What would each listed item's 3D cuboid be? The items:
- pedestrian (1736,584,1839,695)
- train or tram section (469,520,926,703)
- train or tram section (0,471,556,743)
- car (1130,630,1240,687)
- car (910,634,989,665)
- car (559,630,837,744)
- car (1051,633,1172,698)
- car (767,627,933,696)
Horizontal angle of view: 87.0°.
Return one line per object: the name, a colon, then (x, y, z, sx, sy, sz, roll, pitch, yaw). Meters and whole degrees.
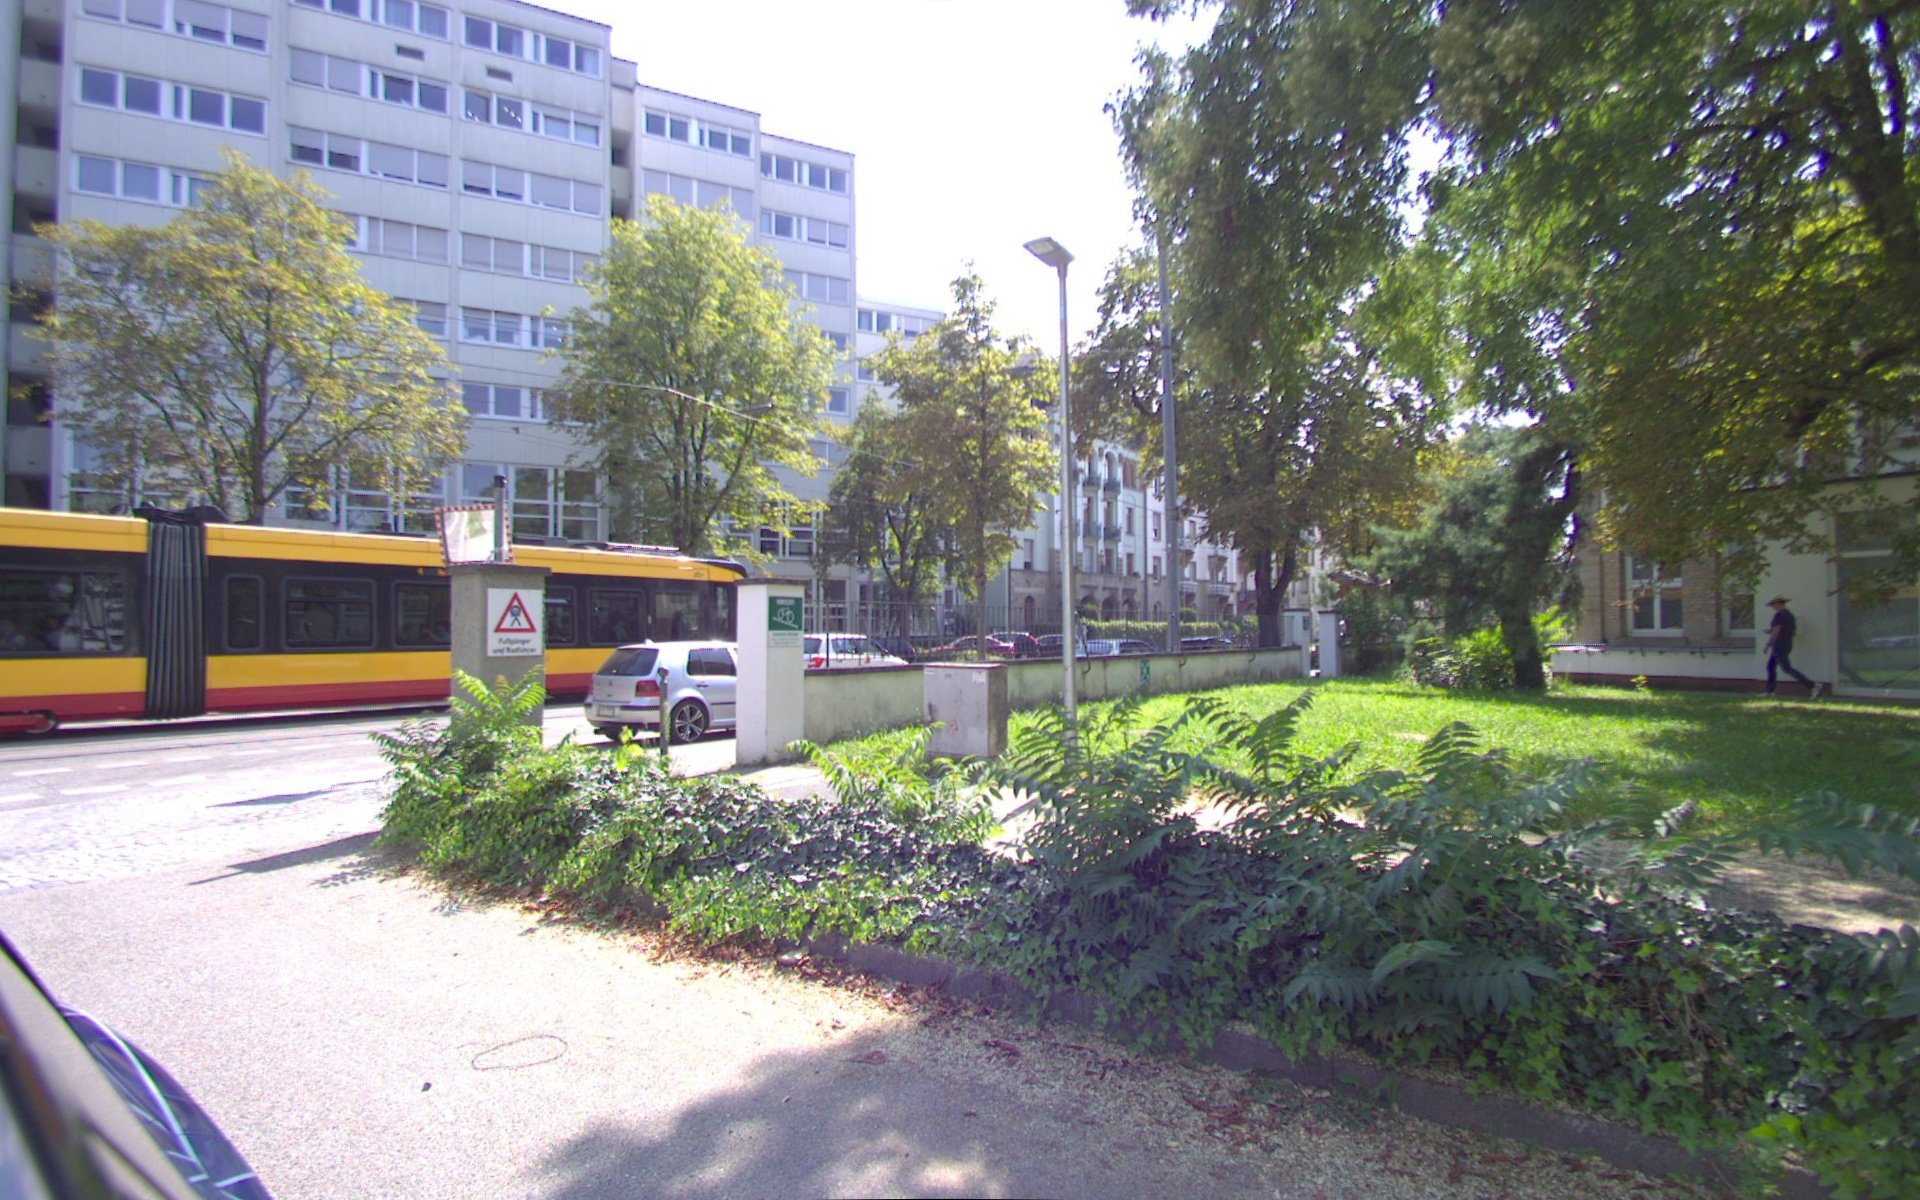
pedestrian: (14.366, 0.681, 17.584, 0.723, 1.842, 1.133, 1, -3, -28)
train or tram section: (-6.034, 0.358, 26.678, 3.502, 3.732, 12.259, -1, -2, 36)
train or tram section: (-13.260, 0.156, 16.734, 3.502, 3.732, 12.259, -1, -2, 36)
car: (6.921, 1.723, 30.861, 1.797, 1.589, 3.950, -2, -2, 37)
car: (-0.524, 2.344, 48.102, 3.614, 1.463, 1.679, 0, -2, -5)
car: (-3.762, 1.205, 14.987, 1.795, 1.457, 3.685, -3, -3, 38)
car: (3.941, 1.619, 25.921, 1.643, 1.523, 3.597, -1, -2, 36)
car: (-2.561, 1.415, 24.409, 1.821, 1.503, 3.970, -1, -2, 35)
